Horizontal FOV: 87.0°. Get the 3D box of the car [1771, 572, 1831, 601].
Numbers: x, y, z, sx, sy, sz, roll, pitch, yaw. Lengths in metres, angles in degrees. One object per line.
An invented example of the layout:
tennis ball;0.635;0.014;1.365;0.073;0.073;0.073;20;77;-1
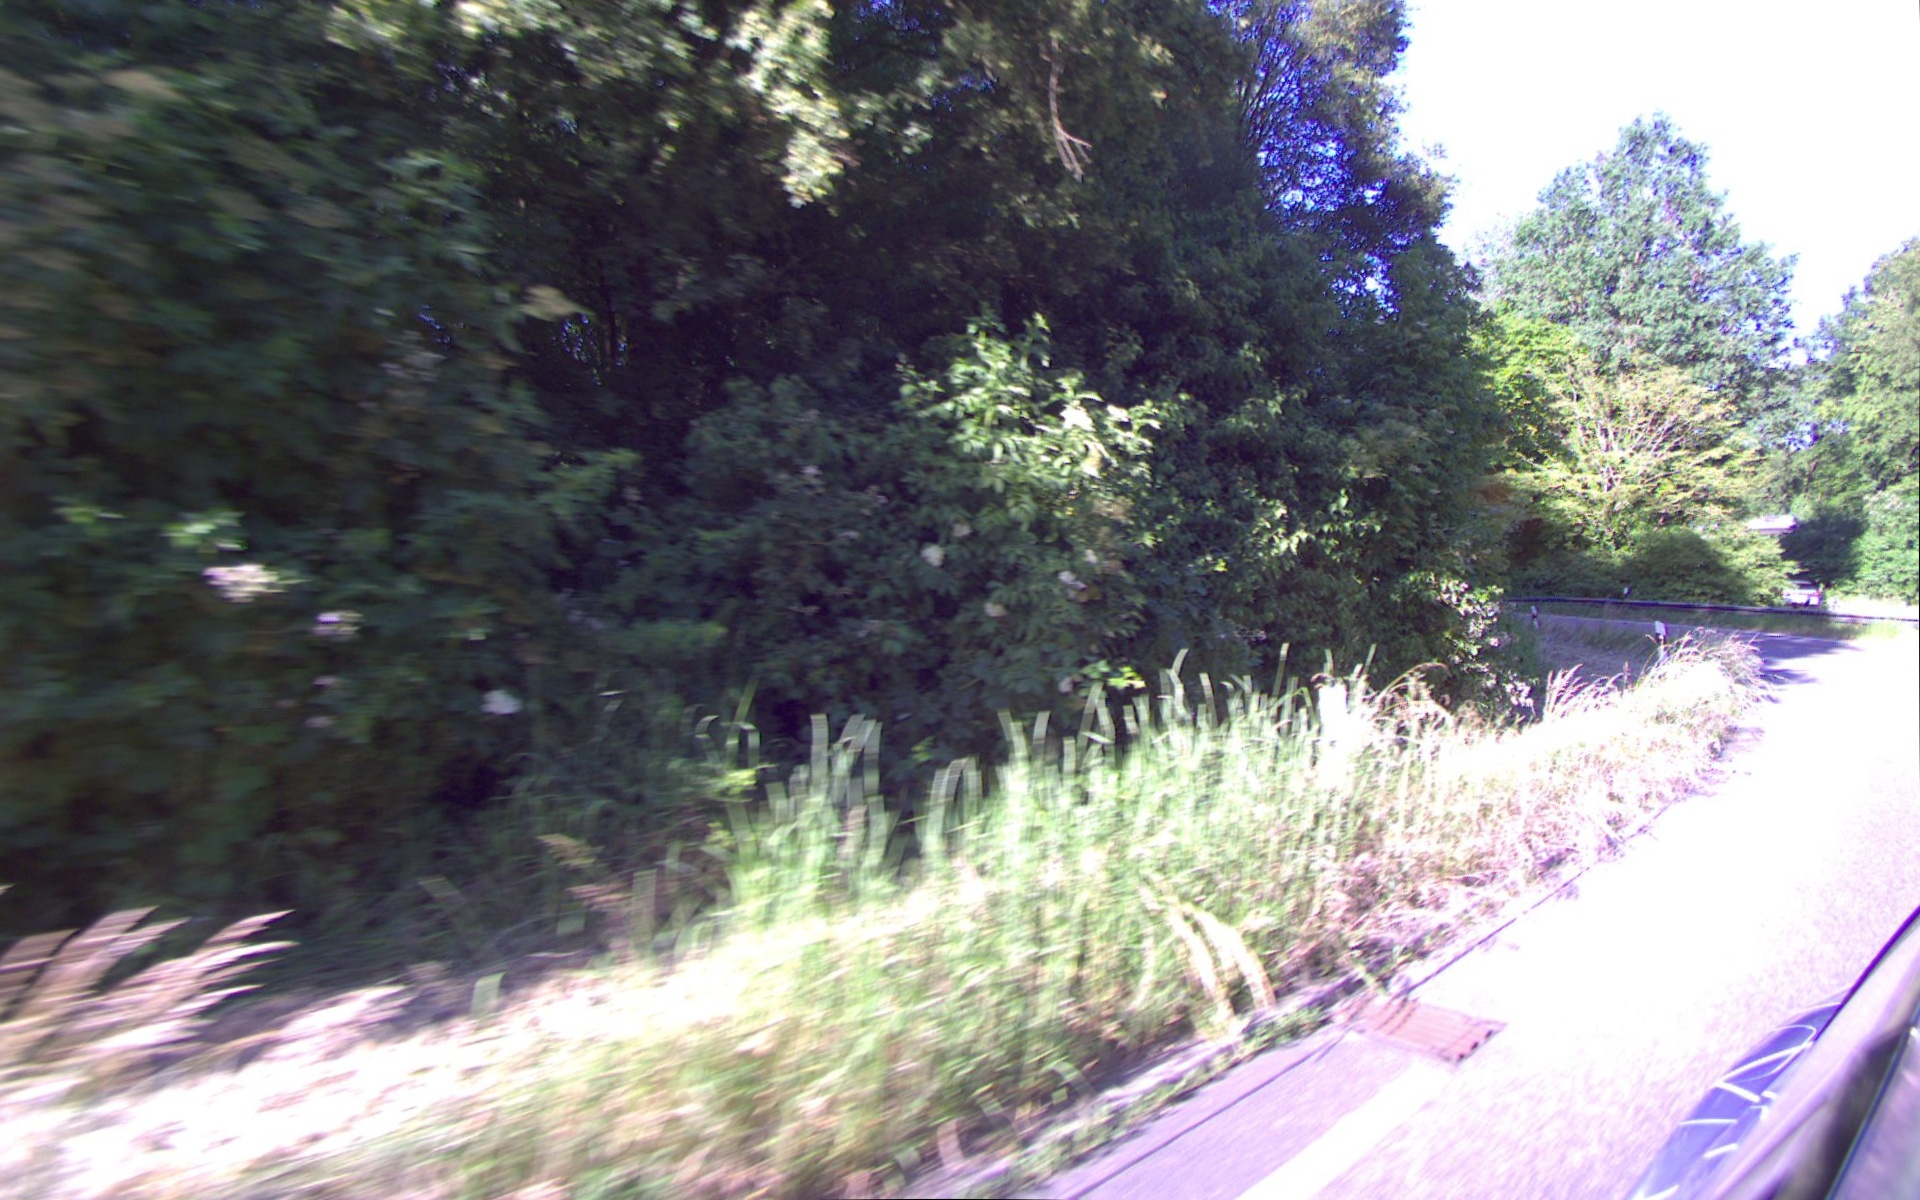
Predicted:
car;44.639;-0.738;53.783;1.712;1.506;3.959;1;2;29
